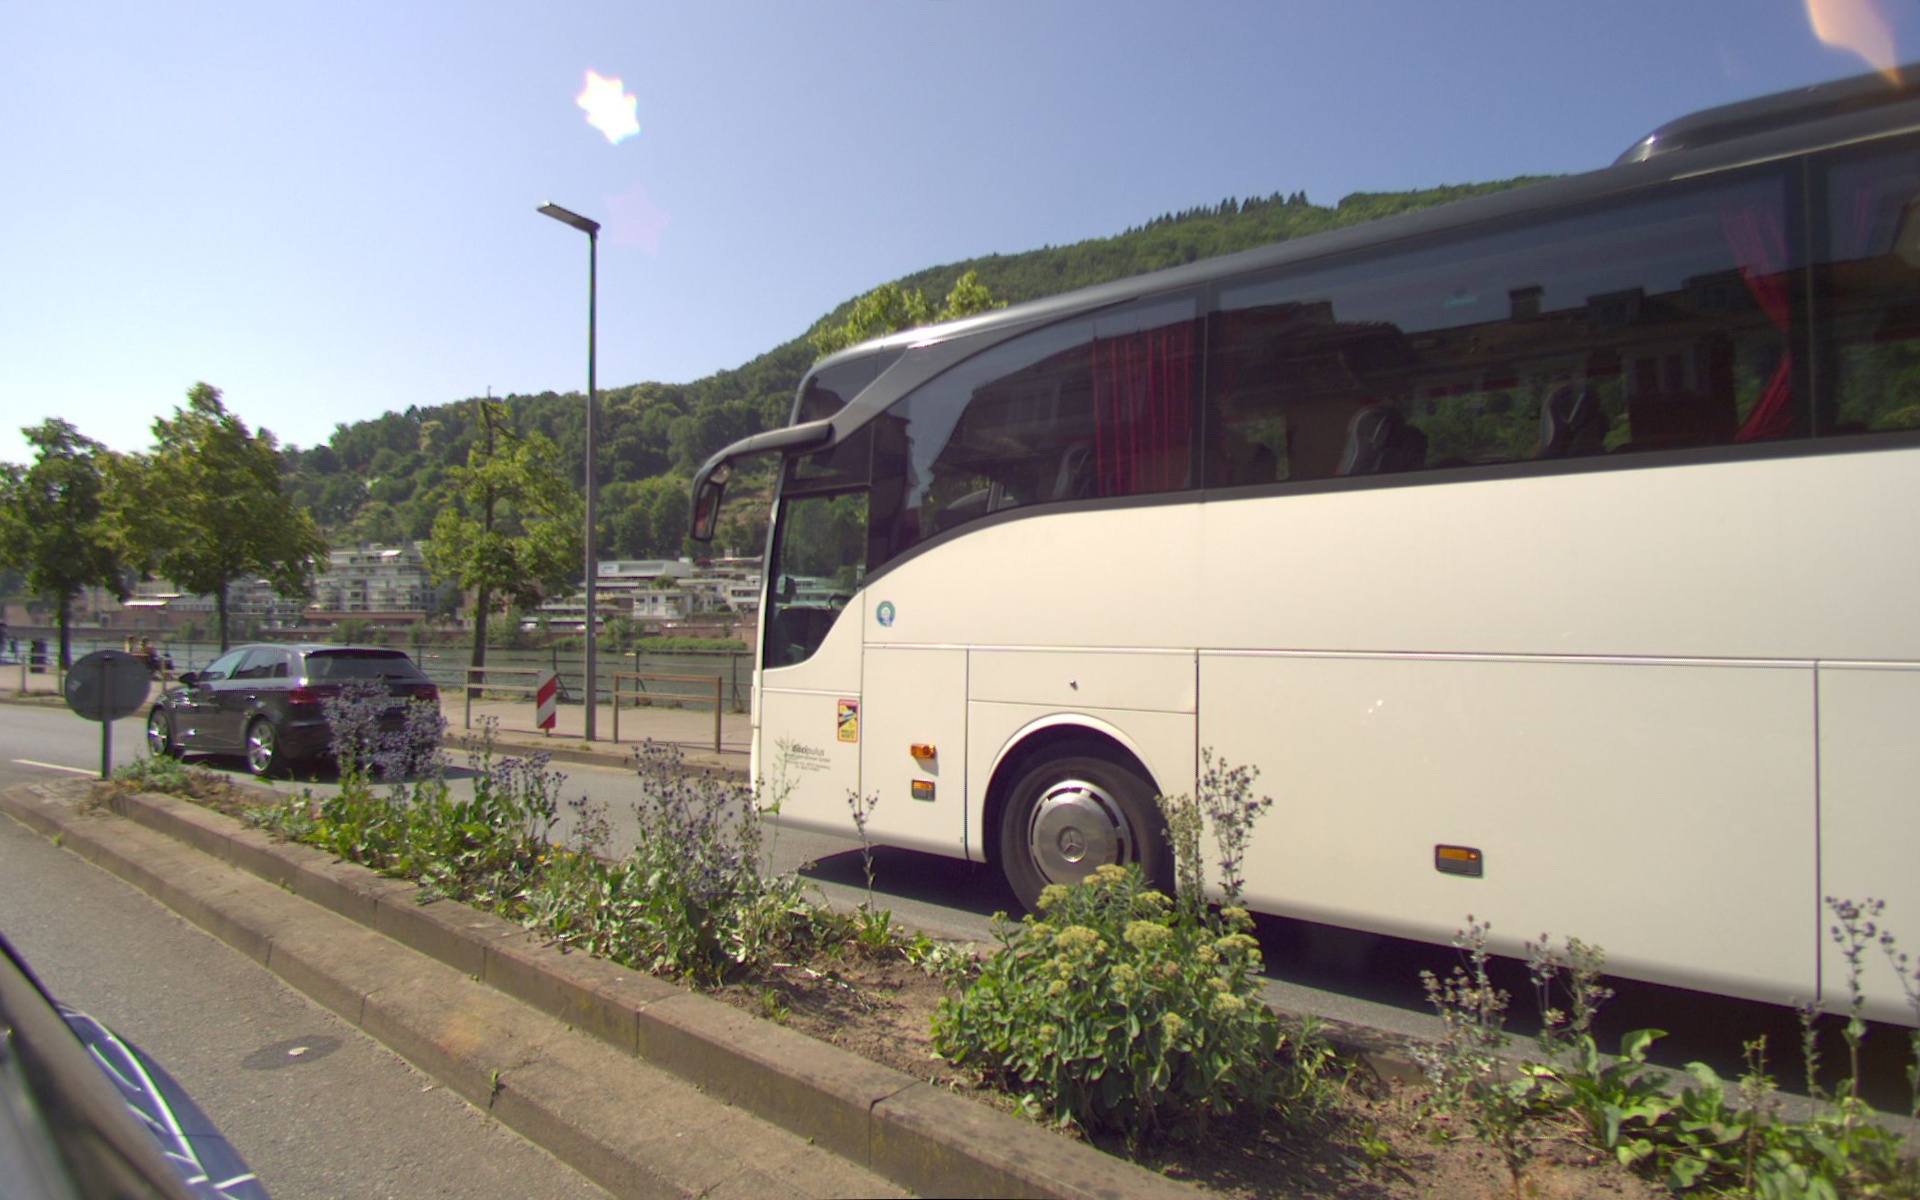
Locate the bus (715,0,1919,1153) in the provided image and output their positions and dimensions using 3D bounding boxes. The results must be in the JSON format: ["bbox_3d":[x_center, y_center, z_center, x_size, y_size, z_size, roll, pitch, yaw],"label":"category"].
[{"bbox_3d":[4.372,-0.072,3.678,12.962,3.591,2.606,0,-2,37],"label":"bus"}]

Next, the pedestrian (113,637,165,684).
[{"bbox_3d":[-23.506,1.720,28.974,0.847,1.291,0.928,-1,-3,35],"label":"pedestrian"}]

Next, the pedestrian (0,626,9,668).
[{"bbox_3d":[-37.170,1.807,38.919,0.662,1.628,0.688,-1,-3,33],"label":"pedestrian"}]

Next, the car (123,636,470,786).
[{"bbox_3d":[-7.744,1.167,11.721,4.180,1.440,1.802,-1,-4,33],"label":"car"}]

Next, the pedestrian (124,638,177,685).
[{"bbox_3d":[-22.759,1.721,28.452,0.847,1.291,0.928,-1,-3,35],"label":"pedestrian"}]
